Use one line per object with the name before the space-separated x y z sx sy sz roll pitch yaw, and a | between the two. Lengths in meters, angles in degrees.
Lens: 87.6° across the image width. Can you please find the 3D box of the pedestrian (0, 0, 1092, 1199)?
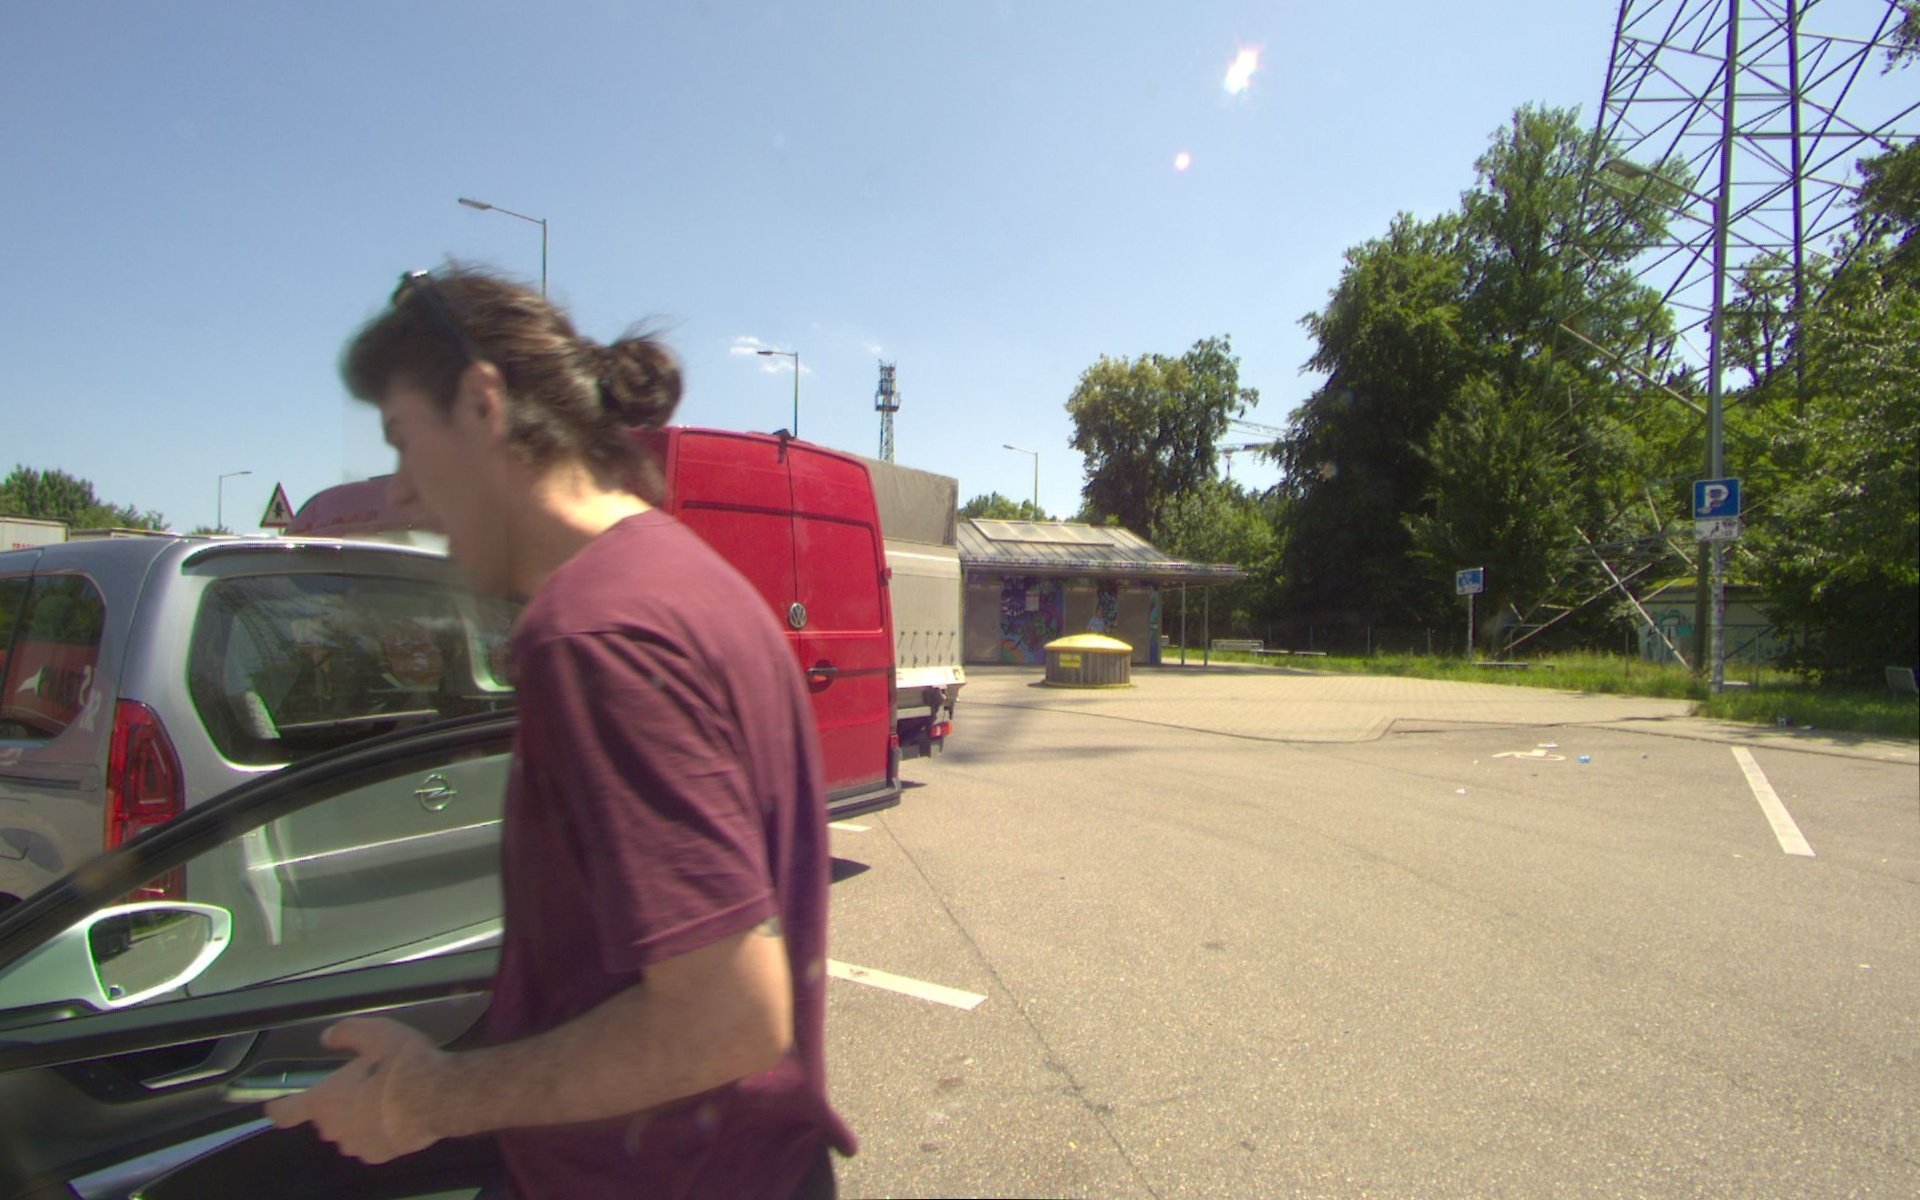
pedestrian | -0.436 0.460 1.173 0.926 1.798 0.827 1 0 28

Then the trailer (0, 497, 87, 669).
trailer | -28.789 -0.425 28.027 13.374 4.178 2.871 0 -1 33

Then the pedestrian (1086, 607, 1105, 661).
pedestrian | 3.890 0.989 28.823 0.453 1.535 0.375 1 0 -2

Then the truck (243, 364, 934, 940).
truck | -2.858 0.262 6.994 5.233 2.658 1.987 0 -1 37

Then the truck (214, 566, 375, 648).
truck | -30.704 0.319 46.069 8.407 3.482 3.019 0 -1 33

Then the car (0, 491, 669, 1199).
car | -3.344 0.637 4.209 3.938 1.776 1.824 0 -1 29

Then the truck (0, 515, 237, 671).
truck | -27.986 -0.131 31.781 14.316 4.175 2.901 0 -3 33
